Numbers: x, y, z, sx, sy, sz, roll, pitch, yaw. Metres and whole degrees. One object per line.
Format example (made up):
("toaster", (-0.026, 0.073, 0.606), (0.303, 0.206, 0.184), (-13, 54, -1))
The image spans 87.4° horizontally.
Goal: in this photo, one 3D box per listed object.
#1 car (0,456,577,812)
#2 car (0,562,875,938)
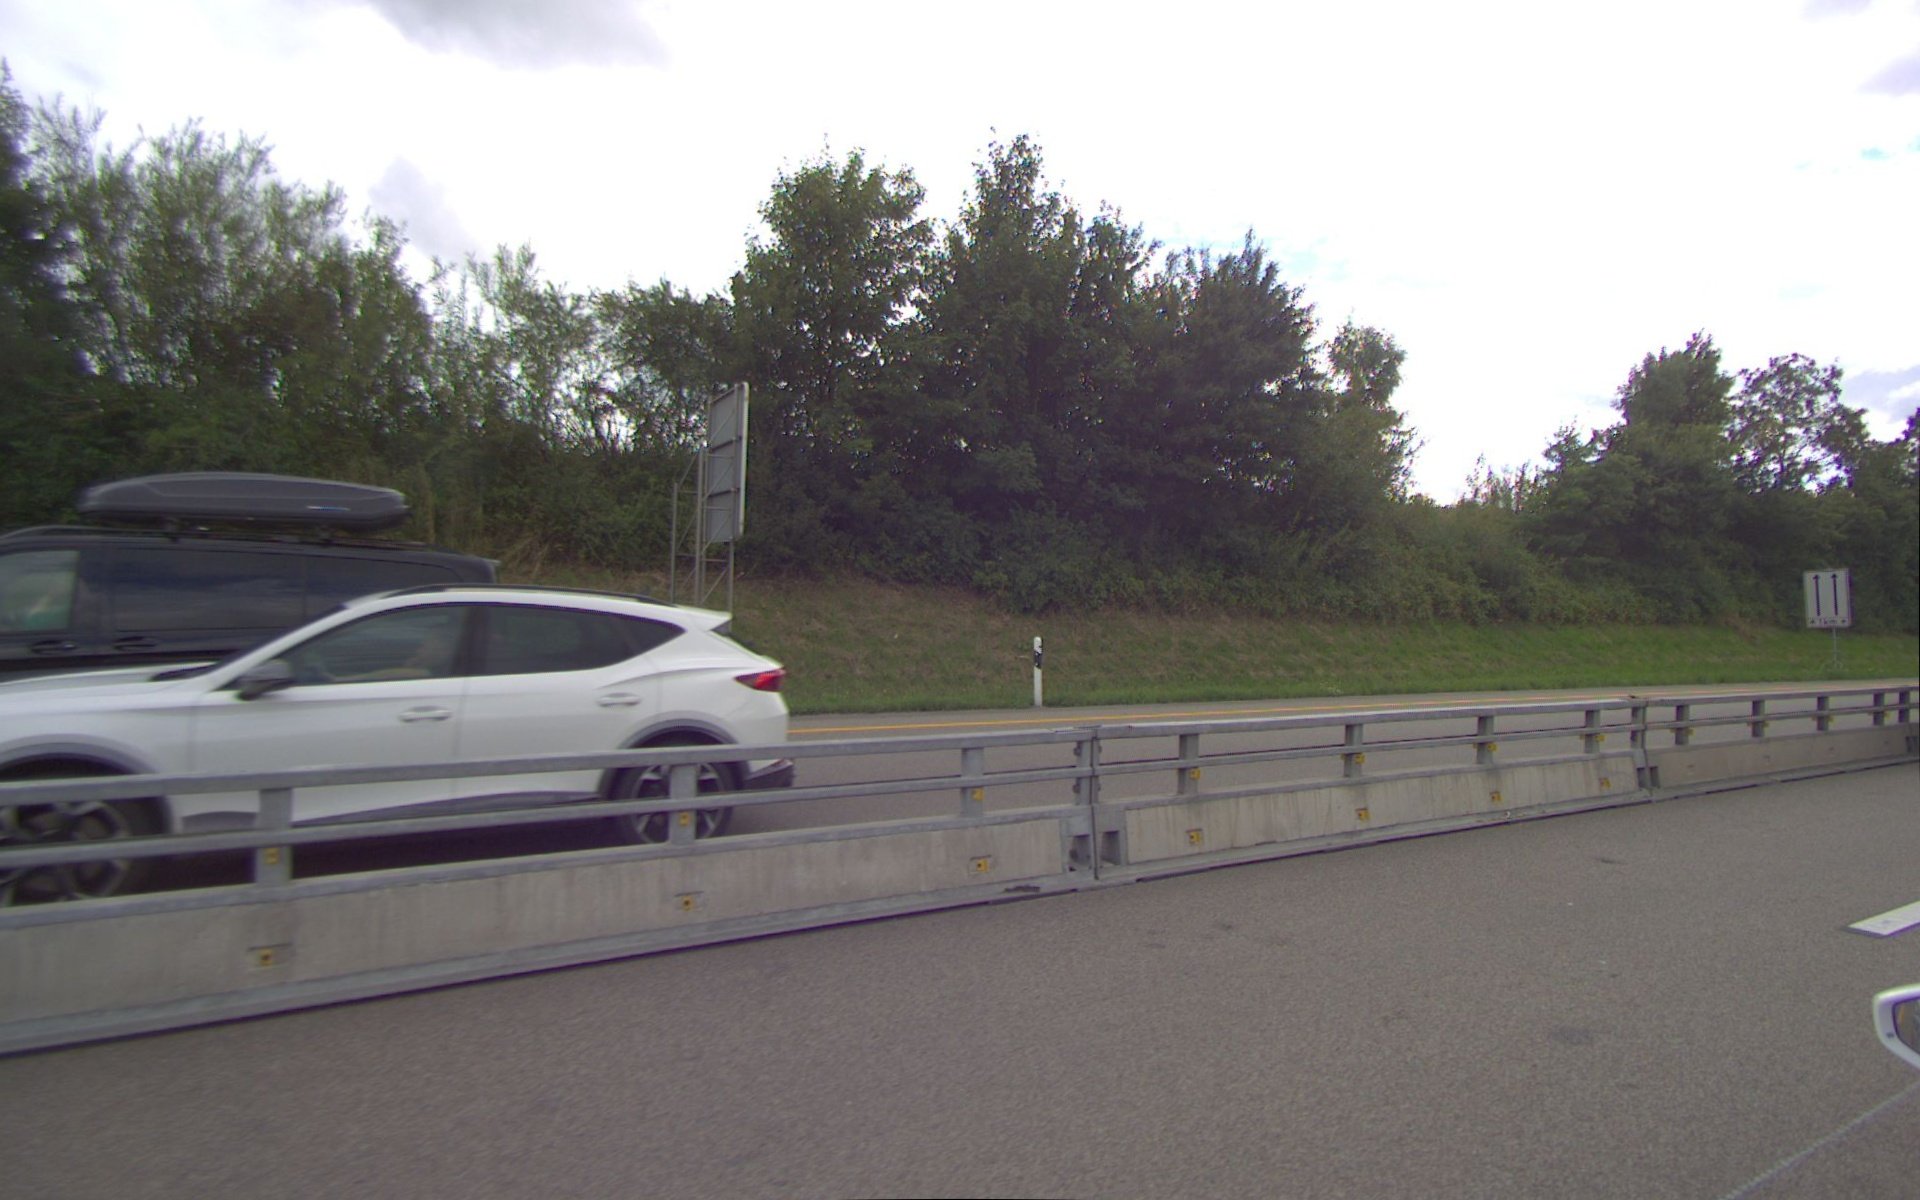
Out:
("car", (-5.818, 0.235, 7.834), (4.994, 2.283, 1.983), (2, 0, -32))
("car", (-3.010, 0.655, 5.830), (4.616, 1.541, 1.983), (2, -1, -31))
